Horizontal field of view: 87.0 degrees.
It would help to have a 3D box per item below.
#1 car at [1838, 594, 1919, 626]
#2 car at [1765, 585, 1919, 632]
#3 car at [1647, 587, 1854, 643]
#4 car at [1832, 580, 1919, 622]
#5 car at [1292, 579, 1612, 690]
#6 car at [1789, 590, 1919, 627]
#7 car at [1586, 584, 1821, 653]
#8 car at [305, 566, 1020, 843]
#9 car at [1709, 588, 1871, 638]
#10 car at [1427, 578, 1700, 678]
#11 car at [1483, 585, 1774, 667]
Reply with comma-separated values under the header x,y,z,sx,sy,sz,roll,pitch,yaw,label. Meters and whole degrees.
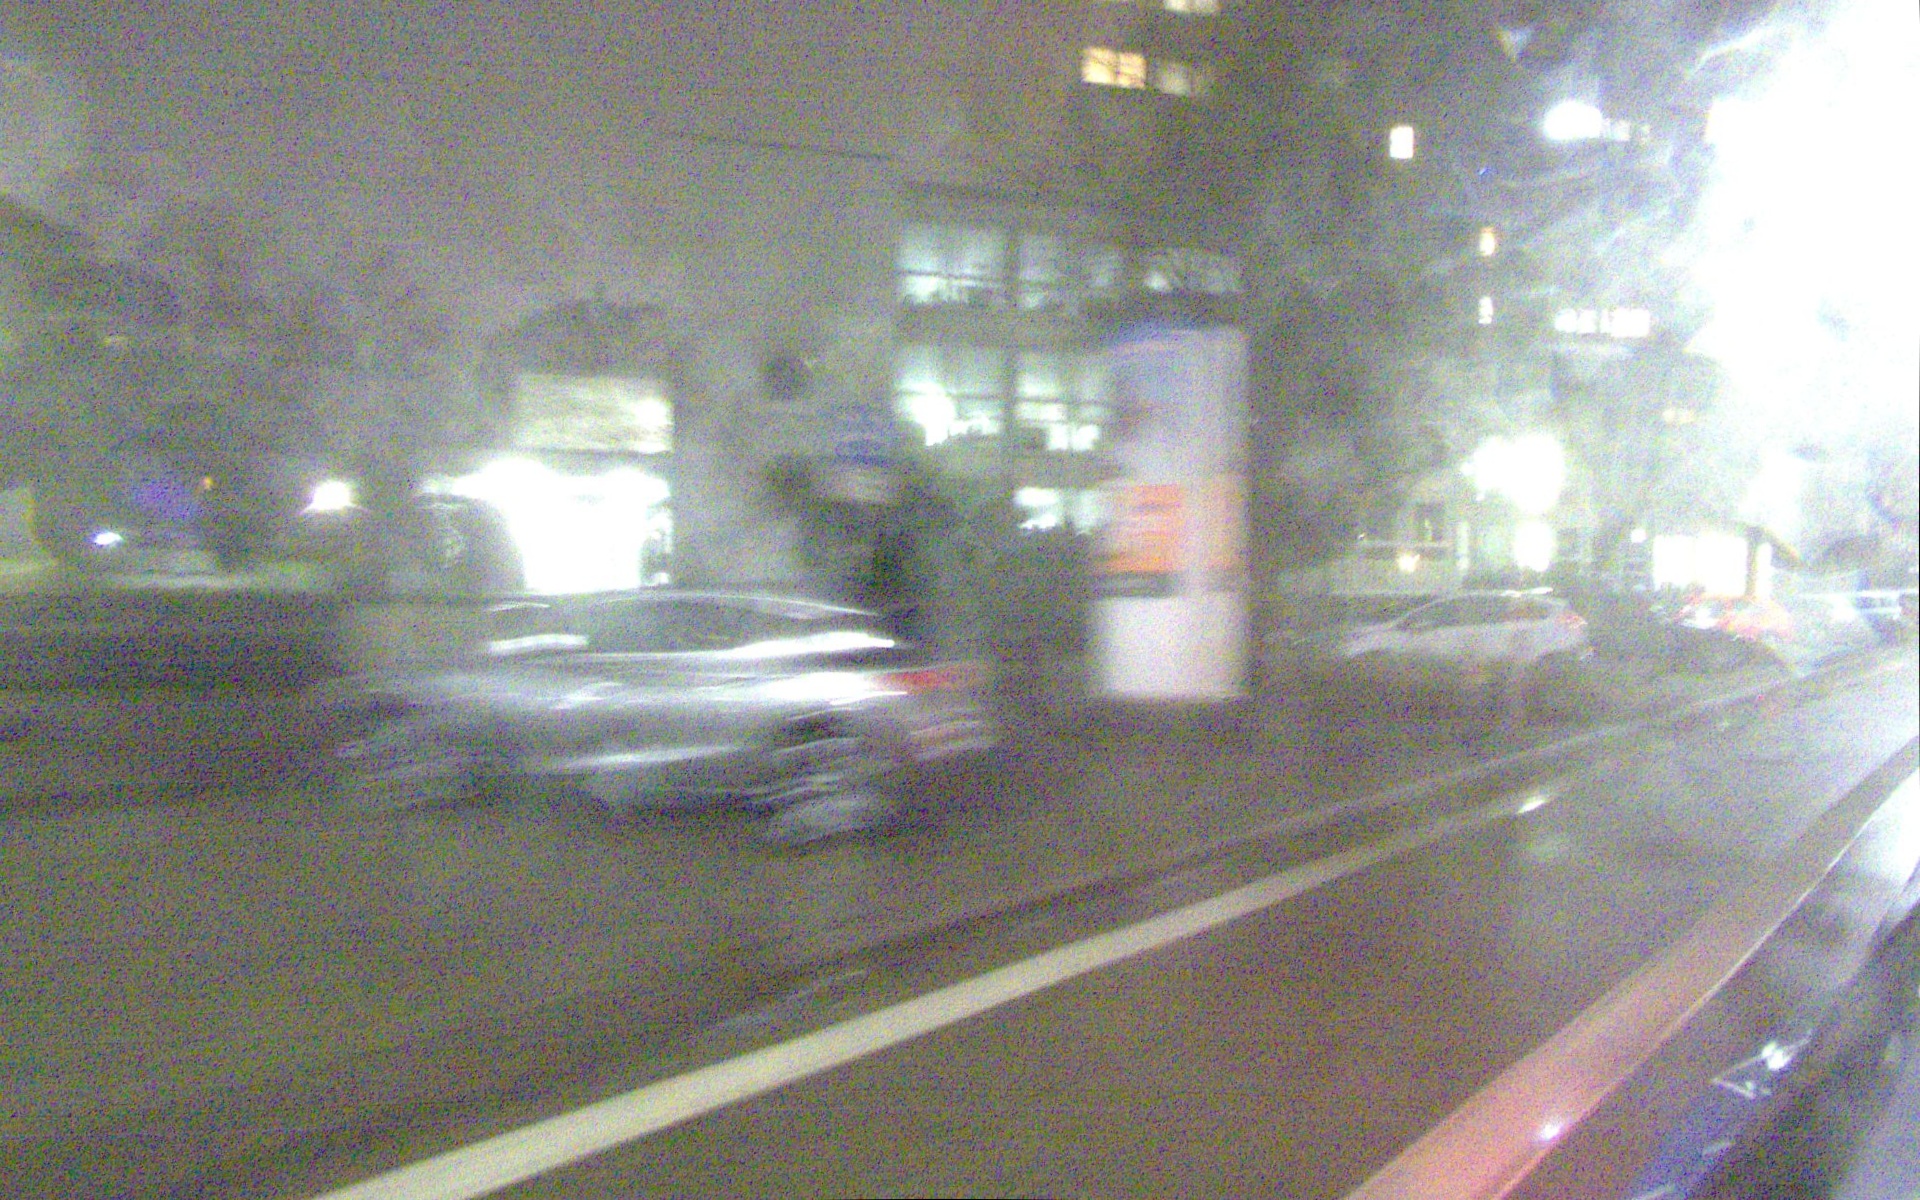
x,y,z,sx,sy,sz,roll,pitch,yaw,label
37.044,0.375,40.235,2.890,1.238,1.507,0,1,2,car
29.845,0.265,34.044,3.945,1.547,1.797,0,1,7,car
21.286,0.398,27.392,4.091,1.463,1.652,0,0,7,car
41.120,0.025,44.448,3.897,1.793,1.665,0,1,13,car
7.086,0.466,14.887,3.835,1.531,1.711,0,1,3,car
38.094,0.336,43.139,3.912,1.527,1.608,0,1,23,car
17.003,0.419,23.287,4.108,1.501,1.662,0,-1,1,car
-1.827,0.537,6.690,4.273,1.486,1.676,0,1,11,car
26.136,0.391,31.959,3.601,1.547,1.715,0,1,4,car
9.958,0.407,16.965,3.517,1.490,1.648,1,1,12,car
12.416,0.453,19.055,4.185,1.435,1.781,0,1,8,car
